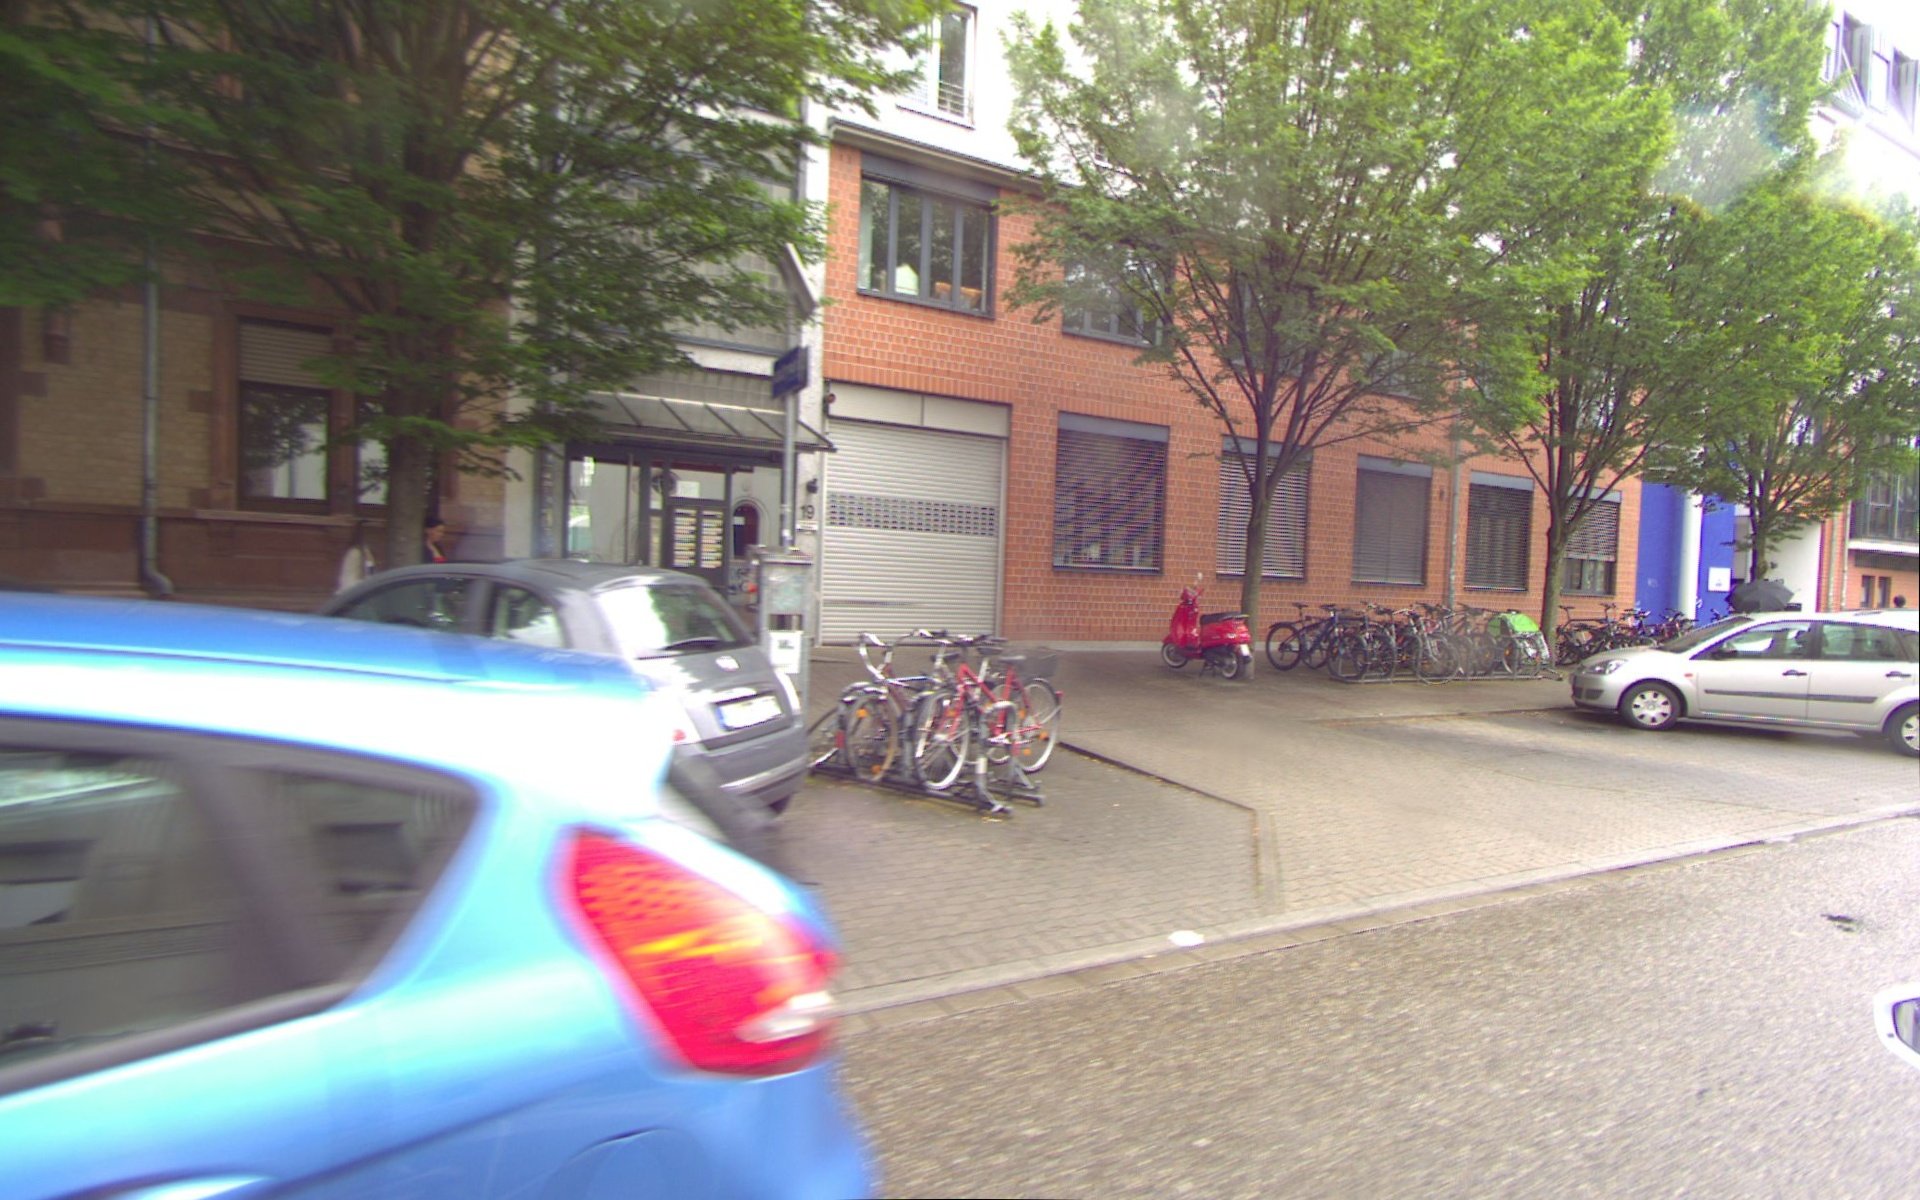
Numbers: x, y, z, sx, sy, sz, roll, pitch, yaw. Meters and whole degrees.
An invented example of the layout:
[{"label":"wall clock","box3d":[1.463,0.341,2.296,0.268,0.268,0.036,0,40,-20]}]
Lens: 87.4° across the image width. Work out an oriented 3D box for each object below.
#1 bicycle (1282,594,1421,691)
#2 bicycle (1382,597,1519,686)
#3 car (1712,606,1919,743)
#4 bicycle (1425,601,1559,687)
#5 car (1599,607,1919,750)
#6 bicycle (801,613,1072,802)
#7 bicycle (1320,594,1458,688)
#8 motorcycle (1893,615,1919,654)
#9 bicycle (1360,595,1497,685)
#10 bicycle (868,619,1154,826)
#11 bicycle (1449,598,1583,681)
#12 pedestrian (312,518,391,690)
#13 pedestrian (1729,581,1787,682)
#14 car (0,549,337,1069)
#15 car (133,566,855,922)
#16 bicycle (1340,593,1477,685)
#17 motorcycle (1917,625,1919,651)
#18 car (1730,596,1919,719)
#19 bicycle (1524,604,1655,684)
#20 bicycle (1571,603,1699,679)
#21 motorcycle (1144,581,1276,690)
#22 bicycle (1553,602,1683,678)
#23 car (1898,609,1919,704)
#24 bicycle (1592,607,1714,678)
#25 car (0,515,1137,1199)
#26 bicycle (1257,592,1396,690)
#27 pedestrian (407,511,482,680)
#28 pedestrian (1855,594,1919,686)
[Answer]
[{"label":"bicycle","box3d":[5.763,0.595,14.906,0.547,1.168,1.885,1,5,-31]},{"label":"bicycle","box3d":[7.804,0.630,16.092,0.547,1.168,1.885,1,5,-31]},{"label":"car","box3d":[12.229,0.957,13.340,3.325,1.676,1.631,1,0,29]},{"label":"bicycle","box3d":[8.905,0.702,16.888,0.547,1.168,1.885,1,5,-31]},{"label":"car","box3d":[9.885,0.869,11.948,3.645,1.471,1.684,1,0,26]},{"label":"bicycle","box3d":[-0.116,0.730,7.708,0.773,1.173,2.132,4,3,44]},{"label":"bicycle","box3d":[6.481,0.592,15.288,0.547,1.168,1.885,1,5,-31]},{"label":"motorcycle","box3d":[30.805,1.110,32.112,2.090,1.190,0.750,2,4,-29]},{"label":"bicycle","box3d":[7.373,0.602,15.909,0.547,1.168,1.885,1,5,-31]},{"label":"bicycle","box3d":[0.431,0.767,7.153,0.740,1.173,2.206,4,3,44]},{"label":"bicycle","box3d":[9.457,0.642,17.168,0.547,1.168,1.885,1,5,-31]},{"label":"pedestrian","box3d":[-5.672,0.021,9.348,0.581,1.517,0.683,1,5,-34]},{"label":"pedestrian","box3d":[14.046,0.550,17.687,0.428,1.730,0.609,3,0,-28]},{"label":"car","box3d":[-4.561,0.528,3.778,3.901,1.466,1.767,4,3,21]},{"label":"car","box3d":[-2.500,0.594,5.558,3.411,1.455,1.651,1,0,19]},{"label":"bicycle","box3d":[6.915,0.572,15.599,0.547,1.168,1.885,1,5,-31]},{"label":"motorcycle","box3d":[32.597,1.130,33.269,2.093,1.190,0.749,1,4,-33]},{"label":"car","box3d":[14.406,0.950,14.768,4.443,1.559,2.334,7,3,28]},{"label":"bicycle","box3d":[11.392,0.768,18.256,0.547,1.168,1.885,1,5,-31]},{"label":"bicycle","box3d":[12.823,0.754,19.147,0.547,1.168,1.885,1,5,-31]},{"label":"motorcycle","box3d":[3.377,0.445,13.786,0.648,1.242,1.876,1,5,-25]},{"label":"bicycle","box3d":[12.236,0.715,18.755,0.547,1.168,1.885,1,5,-31]},{"label":"car","box3d":[17.444,1.022,15.973,3.326,1.562,1.677,3,2,30]},{"label":"bicycle","box3d":[13.982,0.830,20.327,0.547,1.168,1.885,1,5,-31]},{"label":"car","box3d":[-1.911,0.642,0.964,3.957,1.485,1.661,2,0,-31]},{"label":"bicycle","box3d":[5.301,0.565,14.659,0.547,1.168,1.885,1,5,-31]},{"label":"pedestrian","box3d":[-5.179,-0.057,10.082,0.583,1.624,0.563,1,5,-34]},{"label":"pedestrian","box3d":[19.023,0.805,20.466,0.746,1.776,0.823,1,4,-22]}]
